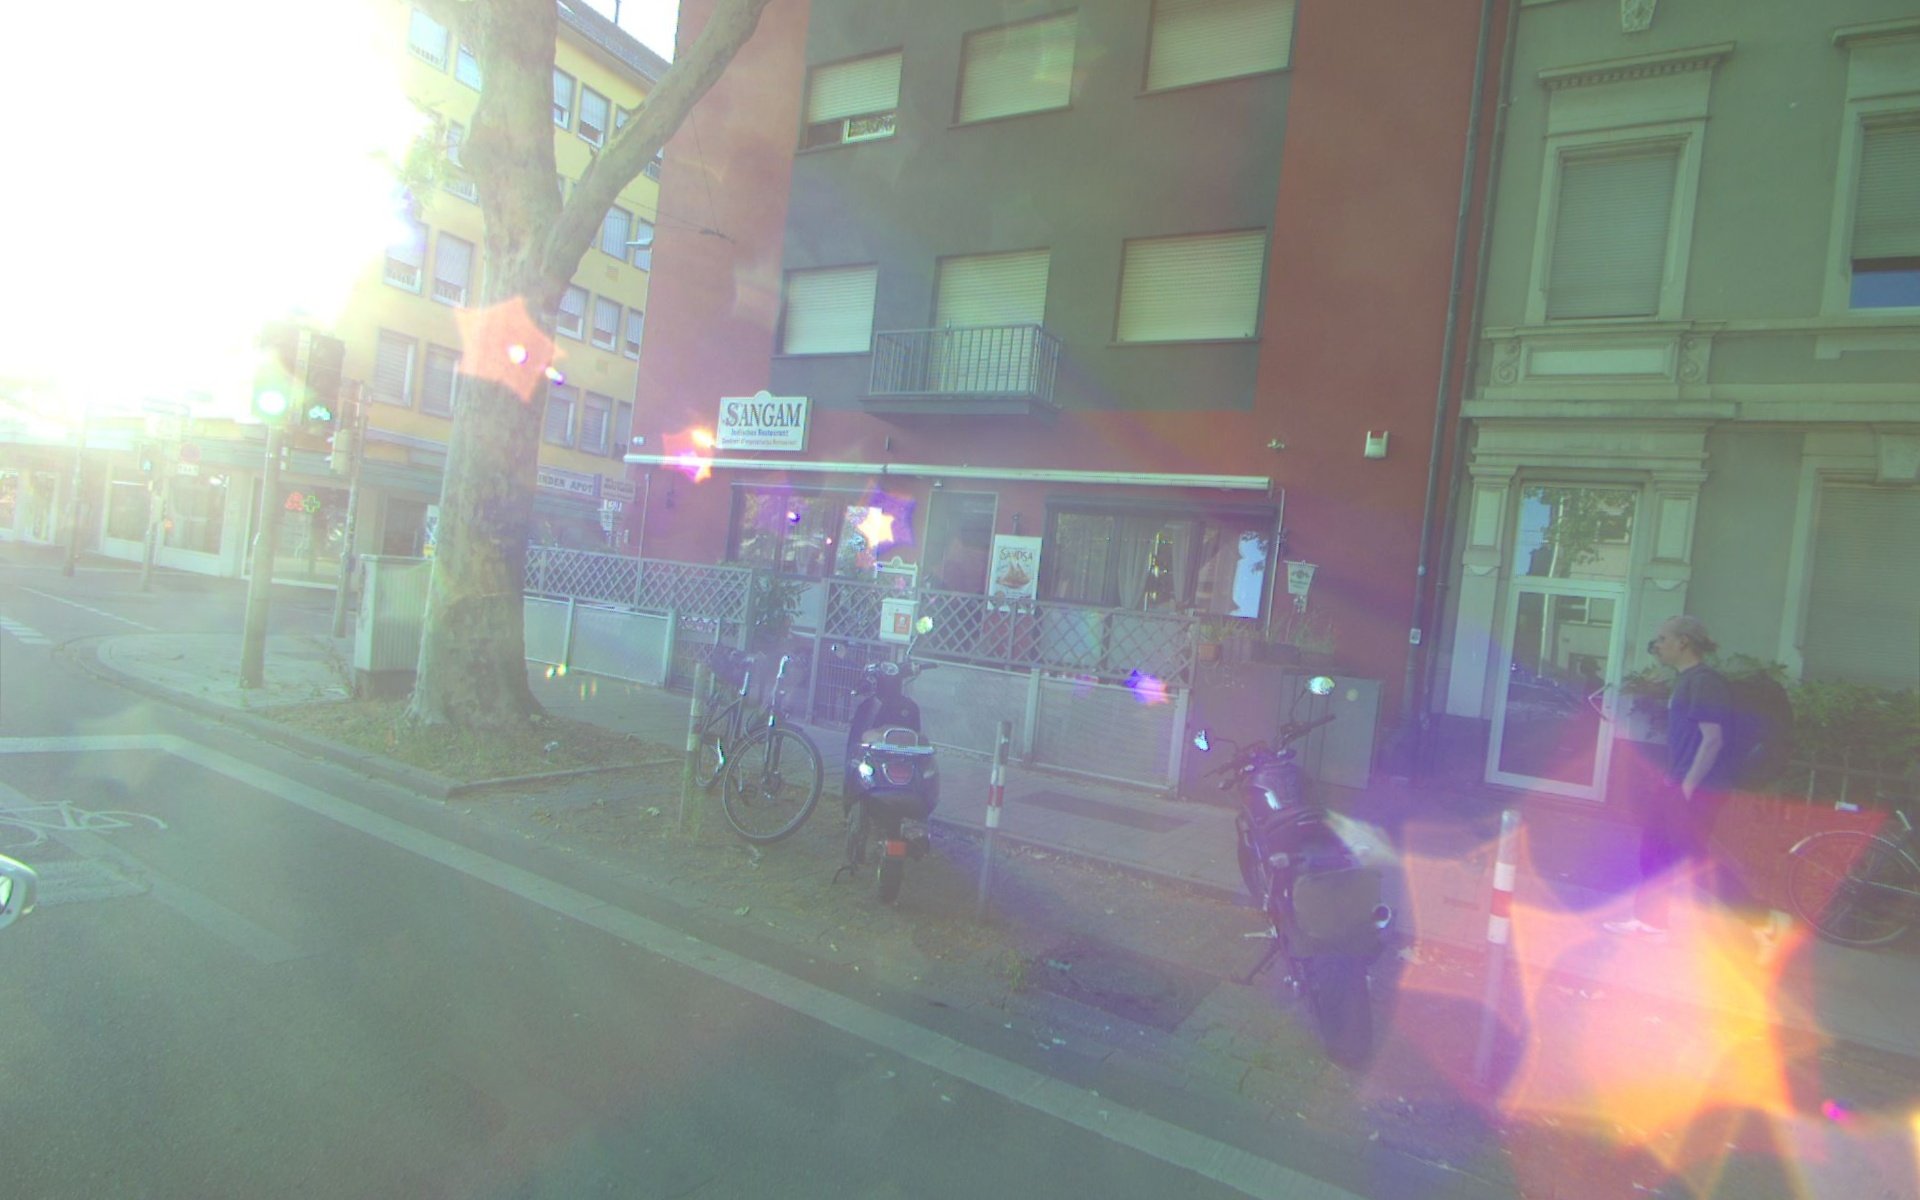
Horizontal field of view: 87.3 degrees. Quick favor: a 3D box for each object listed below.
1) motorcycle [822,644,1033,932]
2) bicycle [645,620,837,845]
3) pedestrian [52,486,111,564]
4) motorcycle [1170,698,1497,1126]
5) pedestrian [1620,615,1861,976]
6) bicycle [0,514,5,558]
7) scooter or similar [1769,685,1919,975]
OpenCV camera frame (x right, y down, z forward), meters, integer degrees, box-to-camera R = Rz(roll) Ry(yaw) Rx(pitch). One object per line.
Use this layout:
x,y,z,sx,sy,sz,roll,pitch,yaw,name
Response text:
-0.274,0.937,5.627,0.772,1.126,1.885,6,2,-11,motorcycle
-1.527,0.814,6.749,0.614,1.126,1.784,5,3,-31,bicycle
-21.916,-1.863,25.100,0.880,1.802,0.744,6,0,31,pedestrian
1.490,1.167,4.516,0.651,1.125,2.212,7,2,4,motorcycle
4.192,0.983,5.491,0.802,1.734,0.726,6,3,31,pedestrian
-23.189,-1.542,23.034,0.531,1.021,1.800,6,2,28,bicycle
5.998,1.364,5.300,2.502,1.488,0.665,6,1,32,scooter or similar
